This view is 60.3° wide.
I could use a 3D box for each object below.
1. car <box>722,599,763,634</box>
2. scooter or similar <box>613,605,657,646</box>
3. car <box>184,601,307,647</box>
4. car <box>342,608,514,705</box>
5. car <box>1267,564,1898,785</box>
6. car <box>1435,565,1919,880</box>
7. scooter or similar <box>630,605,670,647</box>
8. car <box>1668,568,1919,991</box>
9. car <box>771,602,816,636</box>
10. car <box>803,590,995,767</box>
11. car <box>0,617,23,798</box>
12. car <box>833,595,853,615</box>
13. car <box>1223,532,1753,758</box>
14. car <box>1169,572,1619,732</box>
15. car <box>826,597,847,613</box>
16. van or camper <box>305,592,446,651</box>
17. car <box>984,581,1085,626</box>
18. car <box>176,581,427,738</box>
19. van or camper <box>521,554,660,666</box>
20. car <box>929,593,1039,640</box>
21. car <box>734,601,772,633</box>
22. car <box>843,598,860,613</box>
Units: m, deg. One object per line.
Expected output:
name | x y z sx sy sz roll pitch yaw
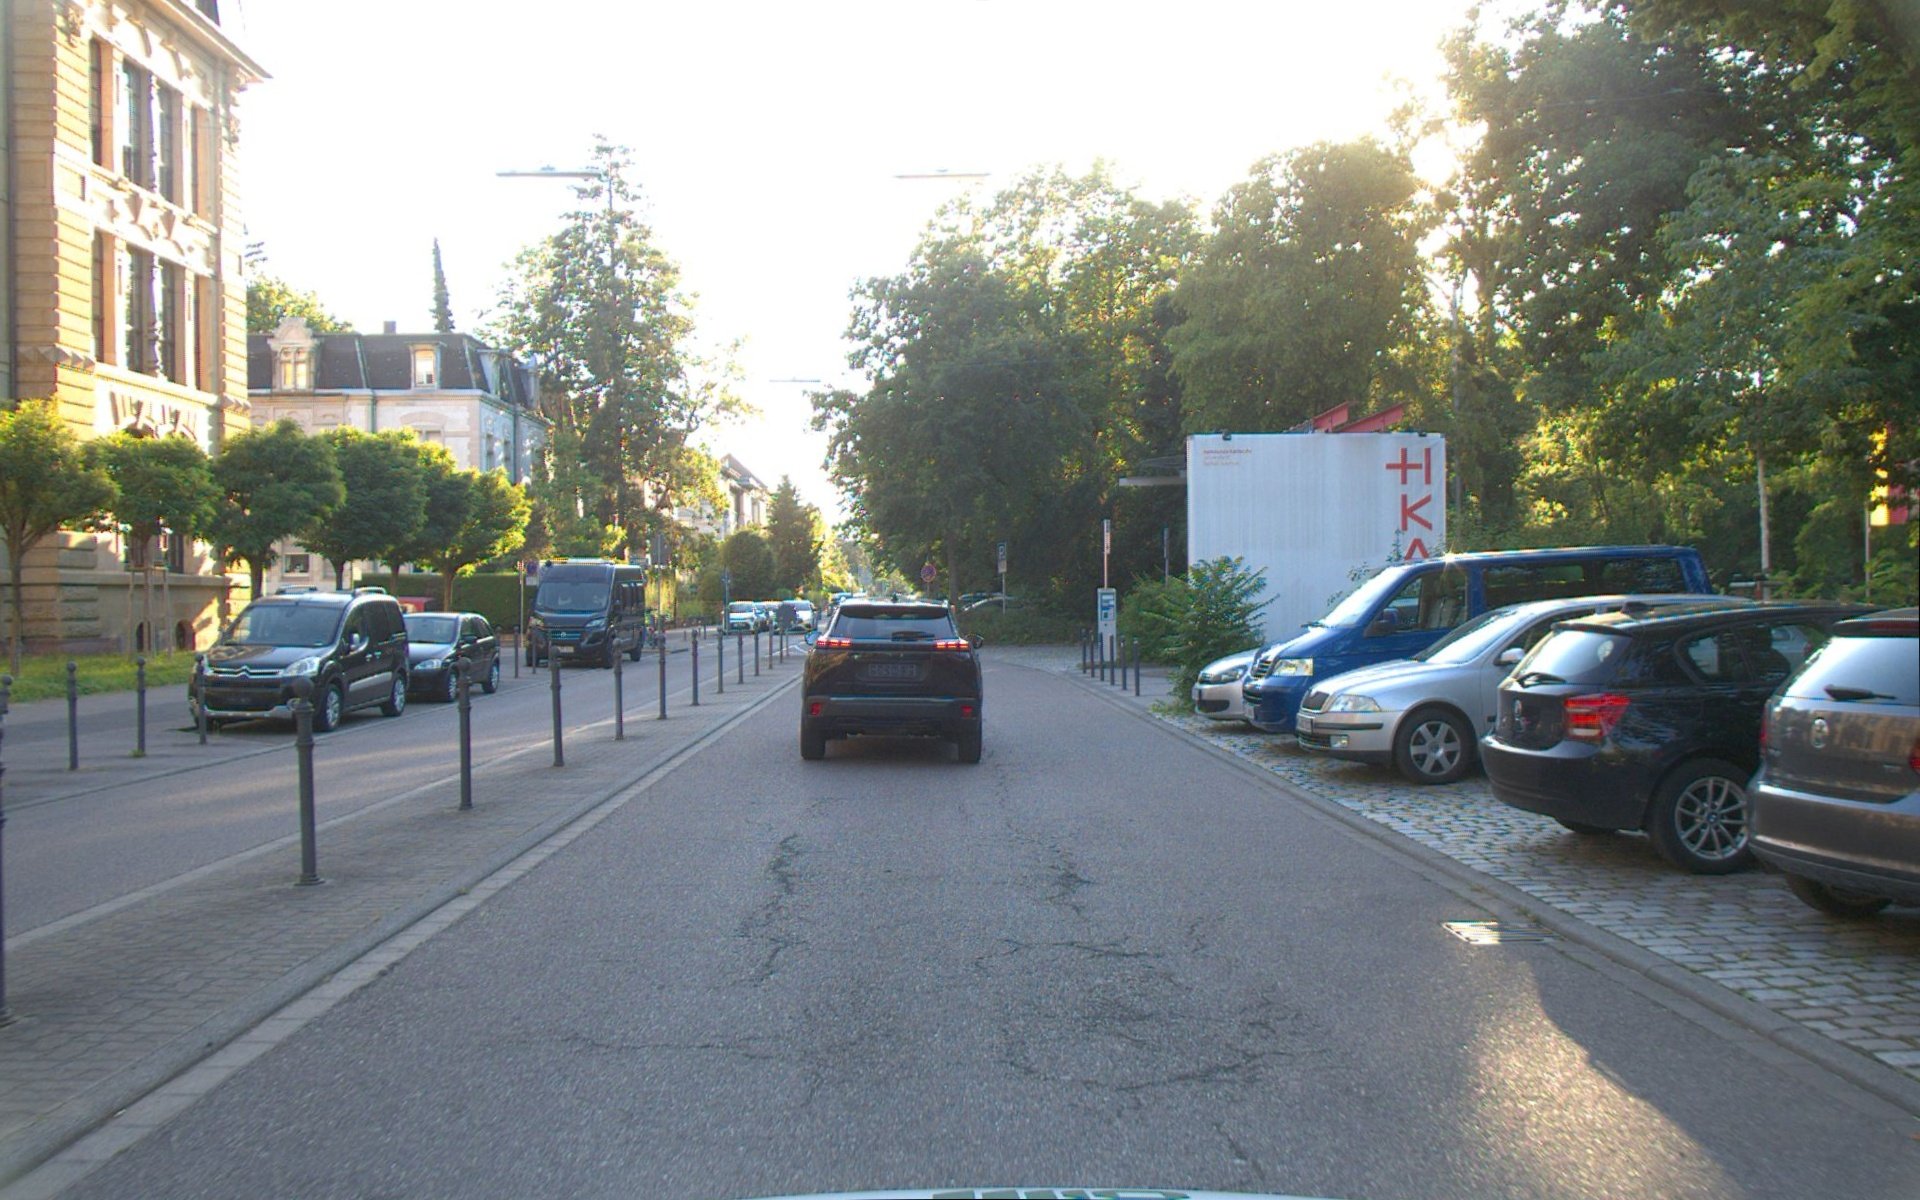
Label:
car | -10.171 0.779 77.554 1.582 1.541 3.709 -3 0 -3
scooter or similar | -10.359 0.813 52.690 1.330 1.297 0.426 0 -1 -37
car | -27.479 0.897 63.731 3.908 1.703 1.919 -1 0 -4
car | -9.037 0.914 28.402 1.661 1.496 3.854 2 0 0
car | 5.356 0.610 14.668 4.828 1.581 1.915 -3 0 -3
car | 5.285 0.604 9.870 4.276 1.564 1.920 -3 0 -3
scooter or similar | -9.800 0.807 52.340 0.423 1.297 1.340 -1 -1 33
car | 5.672 0.580 7.239 4.276 1.564 1.920 -3 0 -3
car | -7.597 0.849 75.682 1.706 1.483 4.622 -1 0 -2
car | -0.601 0.708 17.117 1.736 1.596 4.107 0 0 -1
car | -8.797 0.915 12.105 1.685 1.522 4.373 0 0 -5
car | -12.444 0.554 176.162 1.953 2.049 3.999 0 0 -1
car | 5.282 0.427 16.986 4.755 1.949 1.915 -3 0 -3
car | 5.095 0.592 19.864 4.828 1.581 1.915 -3 0 -3
car | -12.321 0.485 165.391 1.861 1.601 3.998 0 0 -2
van or camper | -22.568 0.811 64.015 4.670 2.020 2.001 -1 4 0
car | 3.264 0.157 73.078 4.221 1.836 2.034 -2 0 -3
car | -8.895 0.735 22.747 1.741 1.898 4.331 2 0 -1
van or camper | -9.327 0.250 42.409 2.185 2.589 7.076 1 0 -2
car | 0.848 0.576 60.240 3.906 1.581 1.725 -1 1 -2
car | -10.396 0.845 83.213 1.581 1.511 3.740 -1 0 -2
car | -13.336 0.660 203.792 1.953 1.847 3.998 0 0 -2
